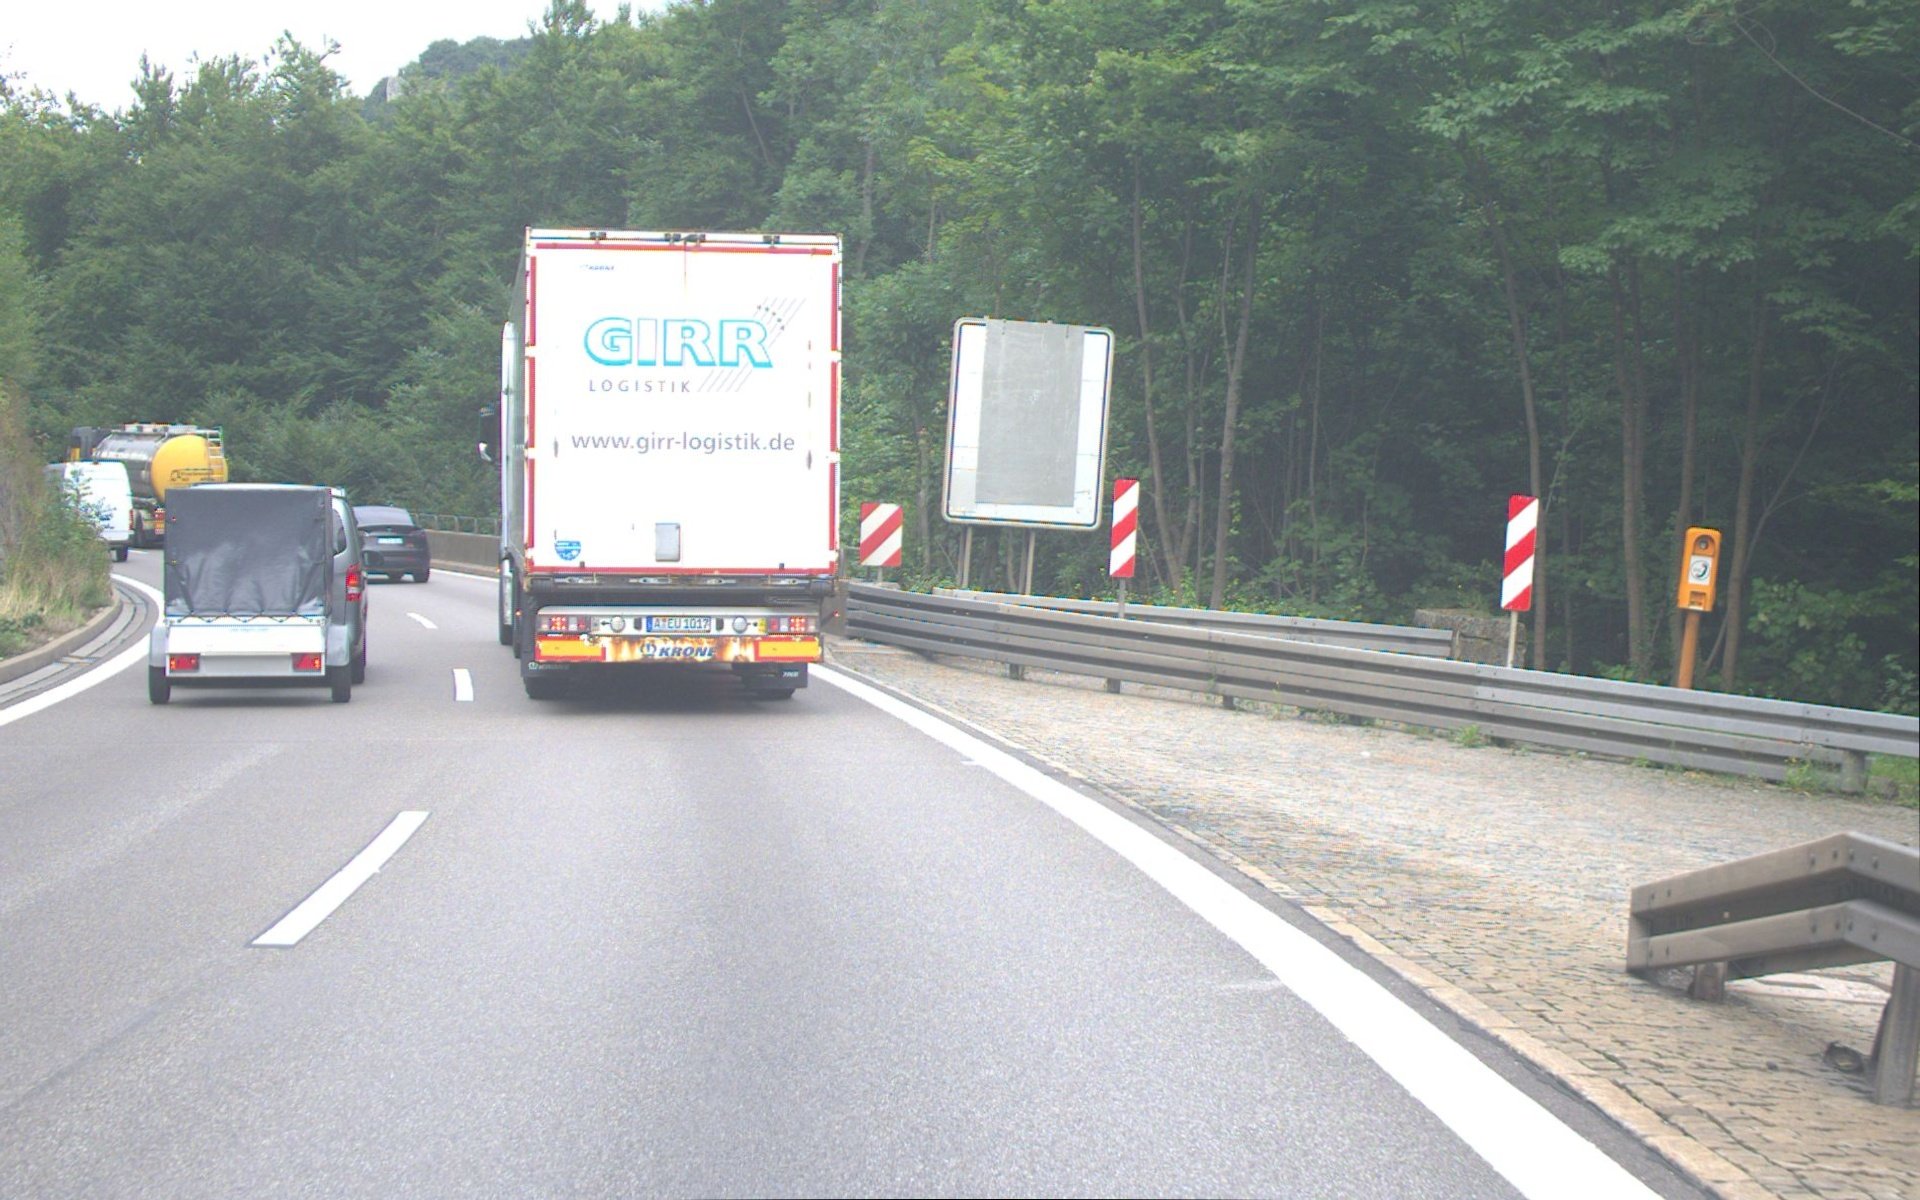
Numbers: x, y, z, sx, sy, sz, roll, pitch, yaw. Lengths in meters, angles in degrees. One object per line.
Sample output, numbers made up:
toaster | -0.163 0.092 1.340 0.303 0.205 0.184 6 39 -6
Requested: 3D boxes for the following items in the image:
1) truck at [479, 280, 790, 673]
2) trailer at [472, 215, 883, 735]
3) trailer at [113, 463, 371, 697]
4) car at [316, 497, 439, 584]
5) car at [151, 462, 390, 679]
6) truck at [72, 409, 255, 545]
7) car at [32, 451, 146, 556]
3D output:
truck | -3.874 -1.469 39.703 3.057 3.972 7.190 3 3 -7
trailer | -3.016 -1.288 33.341 3.057 3.972 12.141 3 3 -8
trailer | -6.285 -0.195 30.415 1.970 1.933 3.431 1 1 -8
car | -12.242 -1.263 72.119 1.993 1.656 4.002 3 1 -17
car | -6.891 -0.324 34.859 1.993 2.007 5.542 1 1 -7
truck | -25.168 -3.828 107.984 3.057 3.972 13.702 -1 2 -24
car | -23.709 -2.662 93.384 1.988 2.663 6.938 2 1 -22
